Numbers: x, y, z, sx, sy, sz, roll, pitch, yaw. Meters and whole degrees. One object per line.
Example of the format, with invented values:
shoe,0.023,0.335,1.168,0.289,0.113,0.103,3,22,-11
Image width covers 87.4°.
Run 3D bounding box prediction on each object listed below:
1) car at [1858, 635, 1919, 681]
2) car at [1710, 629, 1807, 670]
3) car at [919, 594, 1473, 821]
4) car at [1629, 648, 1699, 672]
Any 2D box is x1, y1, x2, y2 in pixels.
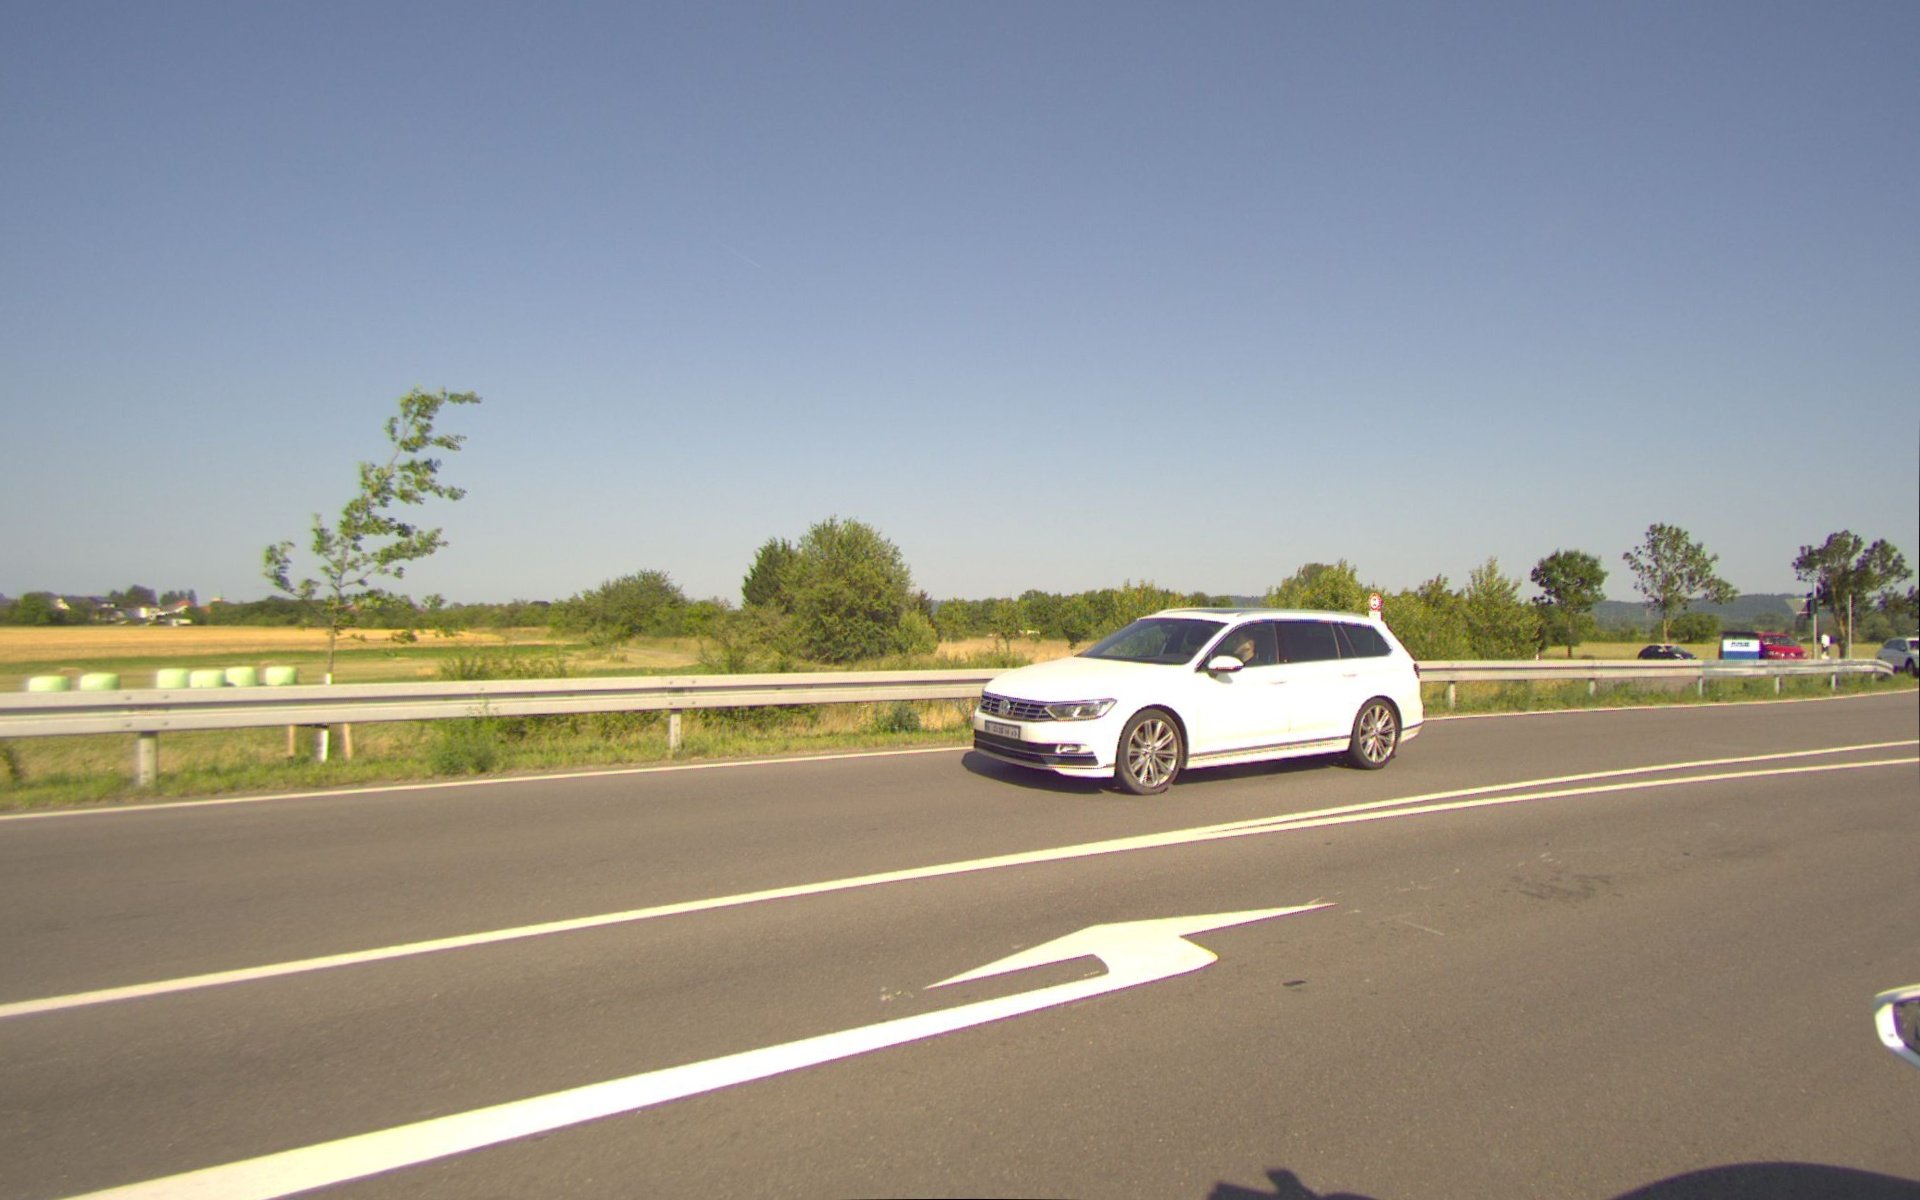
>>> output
car,38.389,2.372,40.442,1.664,1.695,4.864,3,-2,21
car,42.111,2.563,53.121,1.802,1.966,4.929,3,-1,10
car,2.342,0.764,9.475,5.093,1.513,2.104,-1,2,-31
car,46.744,3.971,66.751,1.697,1.476,3.734,1,-2,-9
